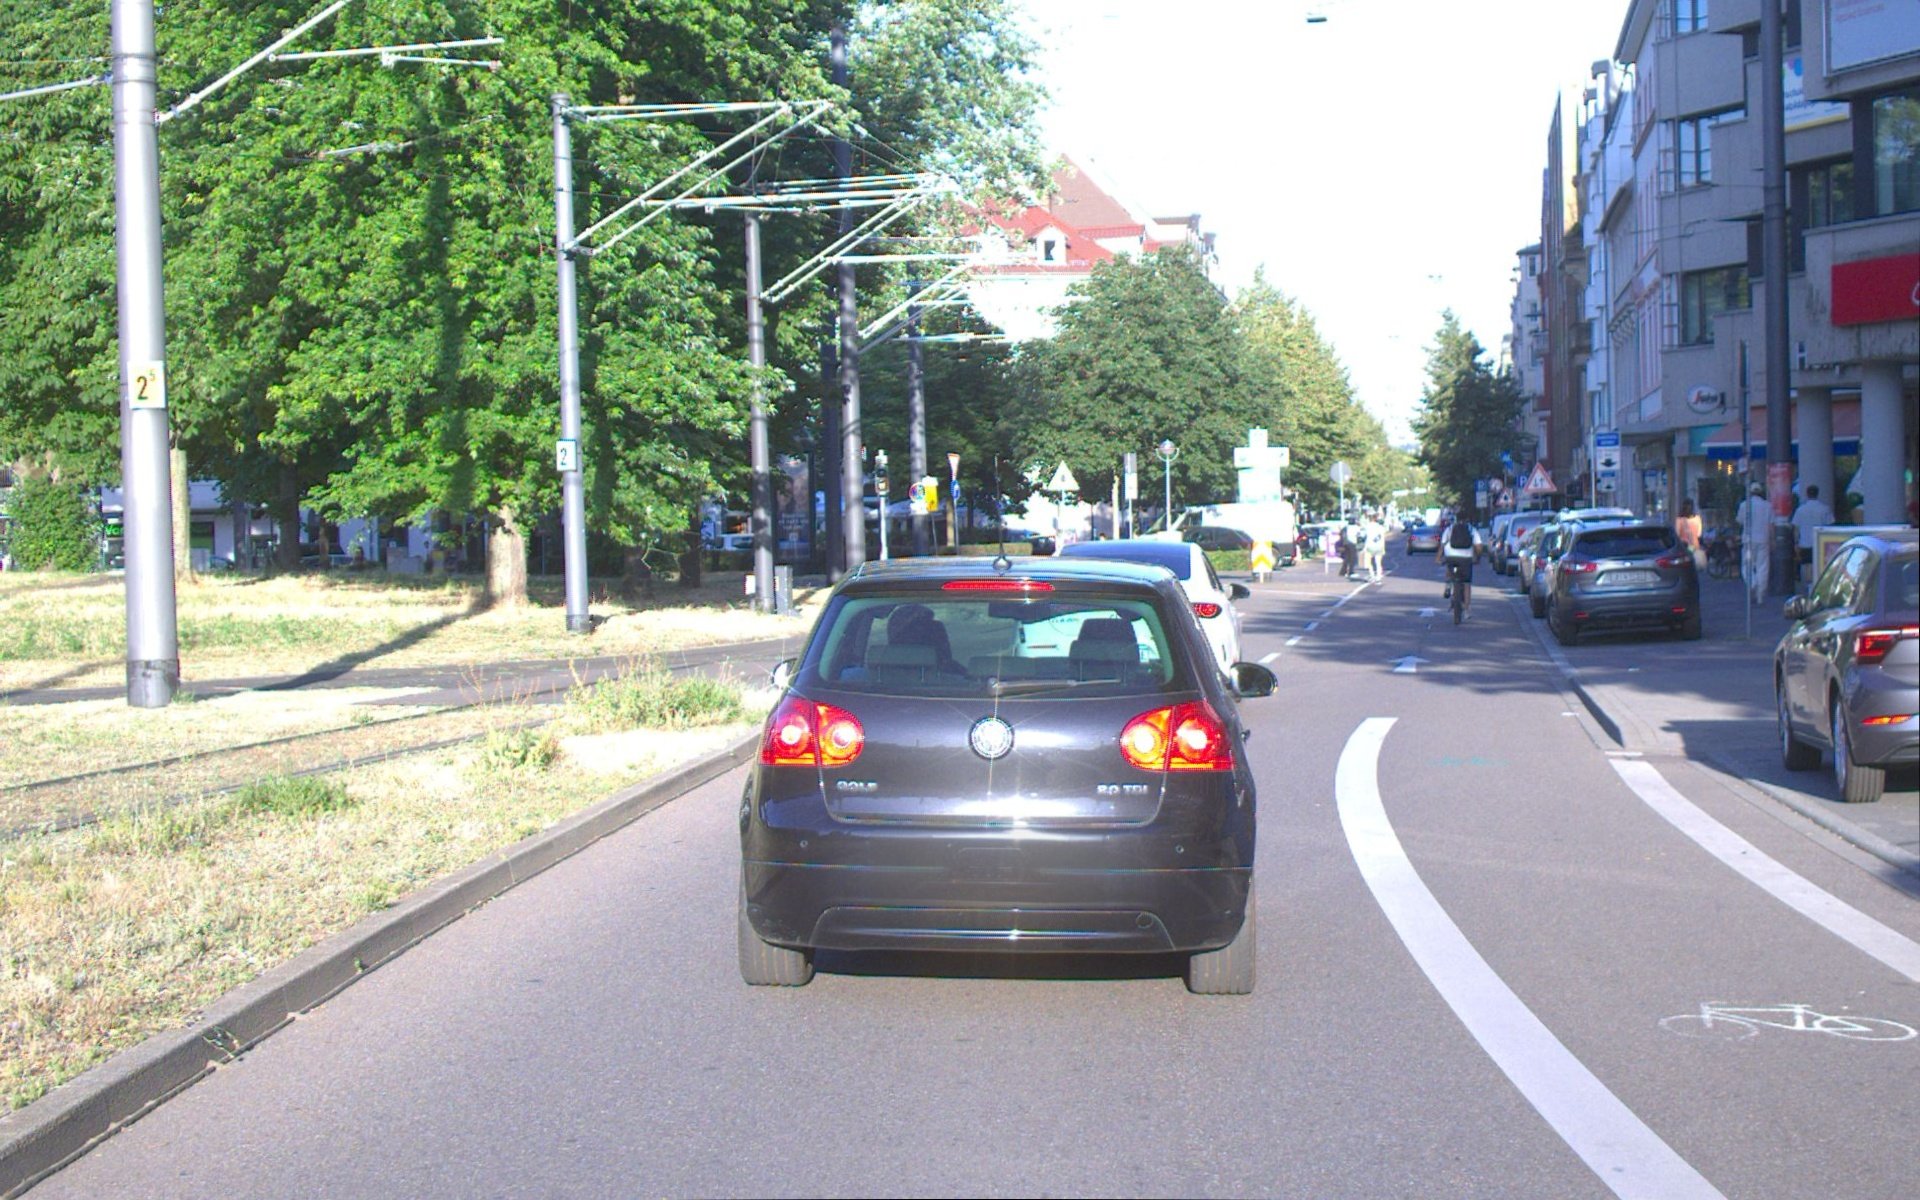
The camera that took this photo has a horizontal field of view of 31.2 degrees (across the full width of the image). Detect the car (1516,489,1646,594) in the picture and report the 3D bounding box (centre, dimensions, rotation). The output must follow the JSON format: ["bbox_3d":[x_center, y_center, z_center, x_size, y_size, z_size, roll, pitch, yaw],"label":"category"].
[{"bbox_3d":[11.054,-1.060,61.423,1.868,1.708,4.504,-3,1,6],"label":"car"}]

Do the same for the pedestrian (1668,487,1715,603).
[{"bbox_3d":[11.355,-0.856,53.408,0.579,1.754,0.661,-4,1,9],"label":"pedestrian"}]

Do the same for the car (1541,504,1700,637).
[{"bbox_3d":[8.596,-0.418,44.997,1.782,1.551,4.233,-3,1,9],"label":"car"}]

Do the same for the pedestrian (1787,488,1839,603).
[{"bbox_3d":[13.161,-0.845,53.043,0.622,1.734,0.661,-4,1,9],"label":"pedestrian"}]

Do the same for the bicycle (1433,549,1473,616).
[{"bbox_3d":[7.492,-0.277,52.293,0.579,0.984,1.935,0,1,8],"label":"bicycle"}]

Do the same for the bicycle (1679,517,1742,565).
[{"bbox_3d":[18.747,-1.470,85.872,0.514,1.115,1.523,-5,1,-36],"label":"bicycle"}]

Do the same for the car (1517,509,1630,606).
[{"bbox_3d":[9.928,-0.711,55.663,1.663,1.436,3.853,-3,1,10],"label":"car"}]

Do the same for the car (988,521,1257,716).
[{"bbox_3d":[1.442,0.102,28.818,1.865,1.436,4.196,-1,2,8],"label":"car"}]

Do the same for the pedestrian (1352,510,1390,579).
[{"bbox_3d":[10.298,-1.393,86.198,0.859,1.700,0.941,0,1,2],"label":"pedestrian"}]

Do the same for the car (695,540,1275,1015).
[{"bbox_3d":[0.259,0.520,12.800,1.748,1.456,4.102,0,1,6],"label":"car"}]

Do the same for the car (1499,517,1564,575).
[{"bbox_3d":[16.982,-1.613,102.244,1.735,1.611,3.915,-2,1,8],"label":"car"}]

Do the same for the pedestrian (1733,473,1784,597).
[{"bbox_3d":[12.312,-1.001,53.016,0.622,1.851,0.661,-4,1,9],"label":"pedestrian"}]

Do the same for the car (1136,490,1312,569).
[{"bbox_3d":[8.905,-2.387,115.966,5.510,2.586,2.155,-1,1,-18],"label":"car"}]

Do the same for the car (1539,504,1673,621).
[{"bbox_3d":[9.358,-0.572,50.000,1.608,1.551,3.609,-3,1,7],"label":"car"}]

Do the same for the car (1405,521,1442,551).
[{"bbox_3d":[24.855,-3.453,184.364,1.907,1.546,3.999,-1,2,7],"label":"car"}]

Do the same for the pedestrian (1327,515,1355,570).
[{"bbox_3d":[10.662,-1.611,96.267,0.736,1.549,0.632,-1,1,5],"label":"pedestrian"}]

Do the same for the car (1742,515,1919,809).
[{"bbox_3d":[5.603,0.258,19.684,1.728,1.467,3.898,-3,1,7],"label":"car"}]

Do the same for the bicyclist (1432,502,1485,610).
[{"bbox_3d":[7.557,-0.673,52.176,0.777,1.613,1.025,0,1,8],"label":"bicyclist"}]

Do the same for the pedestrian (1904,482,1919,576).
[{"bbox_3d":[17.533,-1.292,61.810,0.989,1.667,0.641,-2,1,9],"label":"pedestrian"}]

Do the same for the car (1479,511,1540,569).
[{"bbox_3d":[18.302,-2.006,114.567,1.926,1.835,4.016,-2,1,9],"label":"car"}]

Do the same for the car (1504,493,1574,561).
[{"bbox_3d":[16.337,-2.057,97.112,1.735,1.794,3.915,-2,1,8],"label":"car"}]
